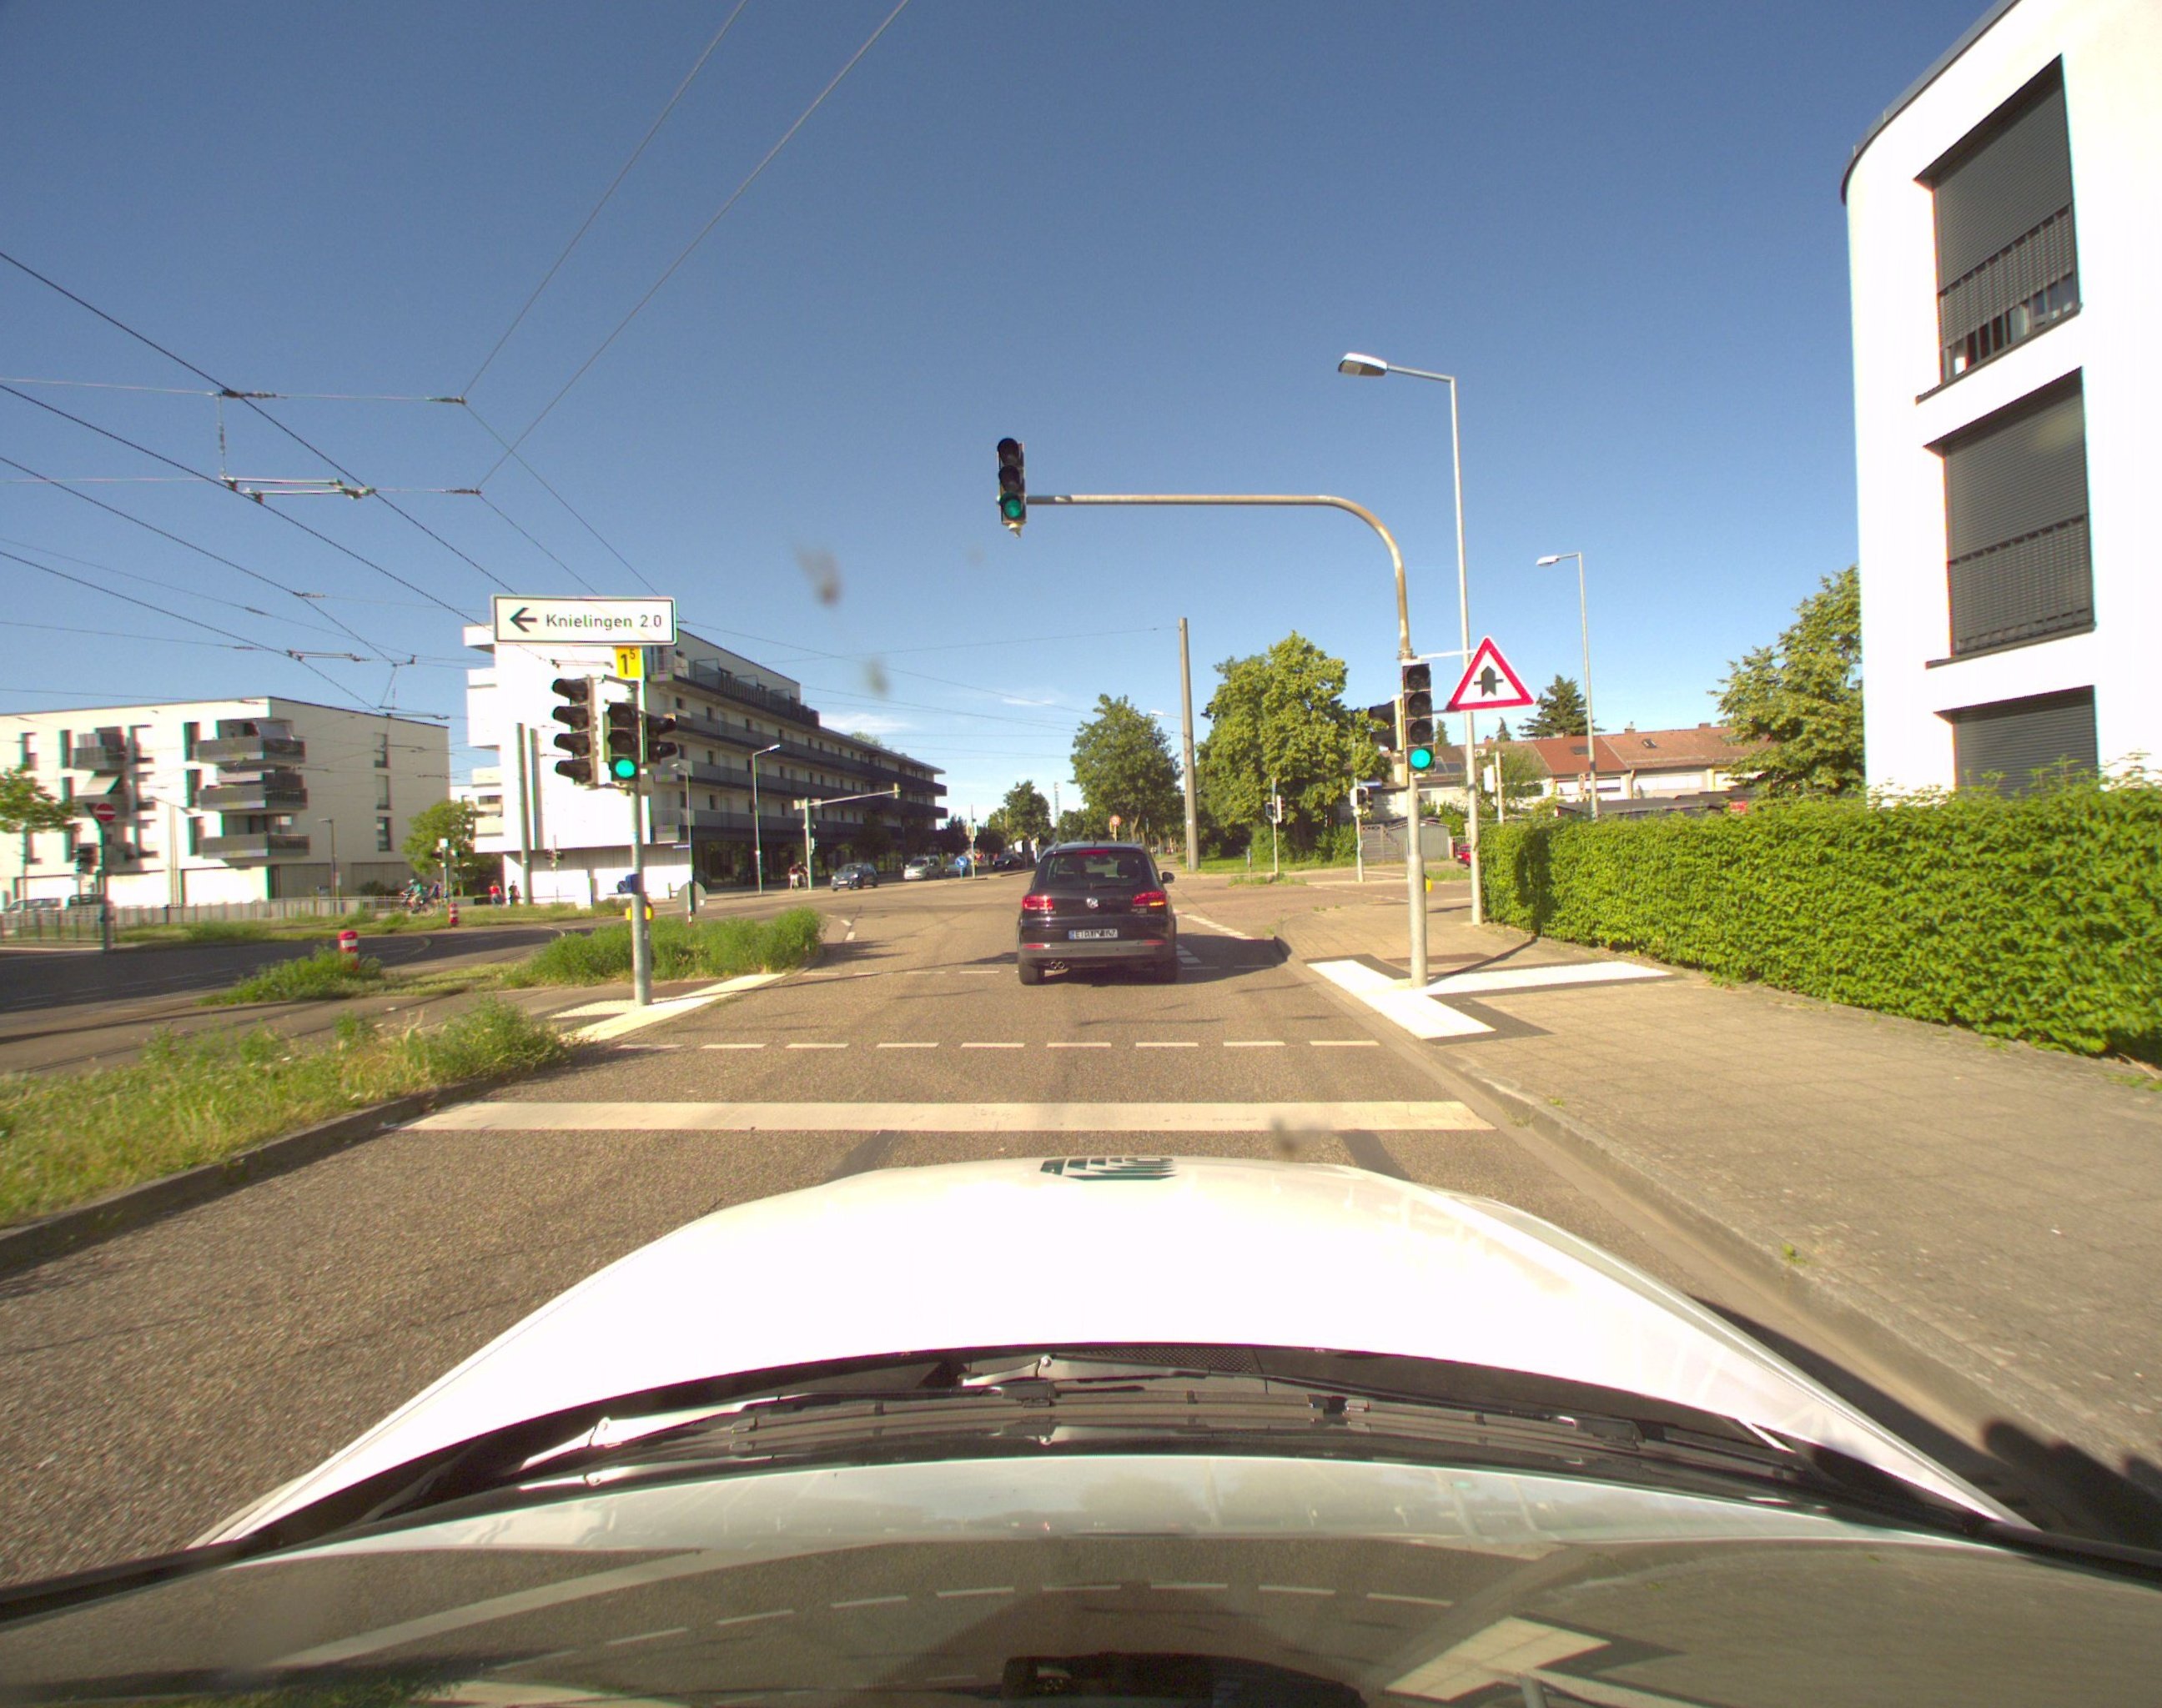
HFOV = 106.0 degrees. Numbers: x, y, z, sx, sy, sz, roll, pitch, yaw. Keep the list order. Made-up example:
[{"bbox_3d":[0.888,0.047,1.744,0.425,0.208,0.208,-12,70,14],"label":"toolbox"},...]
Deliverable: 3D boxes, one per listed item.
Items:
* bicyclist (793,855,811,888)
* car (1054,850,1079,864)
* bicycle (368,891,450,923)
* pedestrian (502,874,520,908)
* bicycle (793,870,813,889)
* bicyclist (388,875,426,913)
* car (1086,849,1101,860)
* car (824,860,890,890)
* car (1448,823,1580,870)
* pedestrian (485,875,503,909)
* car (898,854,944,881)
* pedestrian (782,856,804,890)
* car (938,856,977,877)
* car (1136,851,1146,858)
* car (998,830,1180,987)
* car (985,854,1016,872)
[{"bbox_3d":[-17.536,1.123,51.224,0.815,2.013,0.786,-3,0,-35],"label":"bicyclist"},{"bbox_3d":[-1.678,0.357,96.195,1.980,1.571,4.013,-3,0,12],"label":"car"},{"bbox_3d":[-30.275,2.360,36.759,0.894,1.198,2.835,-3,0,13],"label":"bicycle"},{"bbox_3d":[-27.688,1.802,39.560,0.455,1.622,0.504,-1,0,1],"label":"pedestrian"},{"bbox_3d":[-17.500,1.607,51.216,0.748,1.144,1.625,-3,0,-34],"label":"bicycle"},{"bbox_3d":[-30.324,1.795,36.662,0.886,1.592,0.916,-3,0,12],"label":"bicyclist"},{"bbox_3d":[2.115,0.017,135.791,1.984,1.737,5.207,-3,0,6],"label":"car"},{"bbox_3d":[-12.537,1.138,45.923,1.684,1.456,4.467,-3,0,12],"label":"car"},{"bbox_3d":[16.952,-0.302,32.093,4.144,1.588,1.951,-3,0,8],"label":"car"},{"bbox_3d":[-28.341,1.810,39.315,0.455,1.622,0.504,-1,0,1],"label":"pedestrian"},{"bbox_3d":[-11.252,0.915,57.659,1.984,1.755,4.367,-3,0,4],"label":"car"},{"bbox_3d":[-17.525,1.149,49.605,0.973,2.013,0.761,-3,0,1],"label":"pedestrian"},{"bbox_3d":[-9.910,0.985,65.628,1.981,1.487,3.554,-5,0,10],"label":"car"},{"bbox_3d":[14.787,0.165,200.562,1.884,1.758,4.010,-1,0,9],"label":"car"},{"bbox_3d":[0.292,0.584,10.910,1.920,1.654,4.521,-1,0,5],"label":"car"},{"bbox_3d":[-7.634,0.856,77.736,1.957,1.534,4.748,-3,0,6],"label":"car"}]
